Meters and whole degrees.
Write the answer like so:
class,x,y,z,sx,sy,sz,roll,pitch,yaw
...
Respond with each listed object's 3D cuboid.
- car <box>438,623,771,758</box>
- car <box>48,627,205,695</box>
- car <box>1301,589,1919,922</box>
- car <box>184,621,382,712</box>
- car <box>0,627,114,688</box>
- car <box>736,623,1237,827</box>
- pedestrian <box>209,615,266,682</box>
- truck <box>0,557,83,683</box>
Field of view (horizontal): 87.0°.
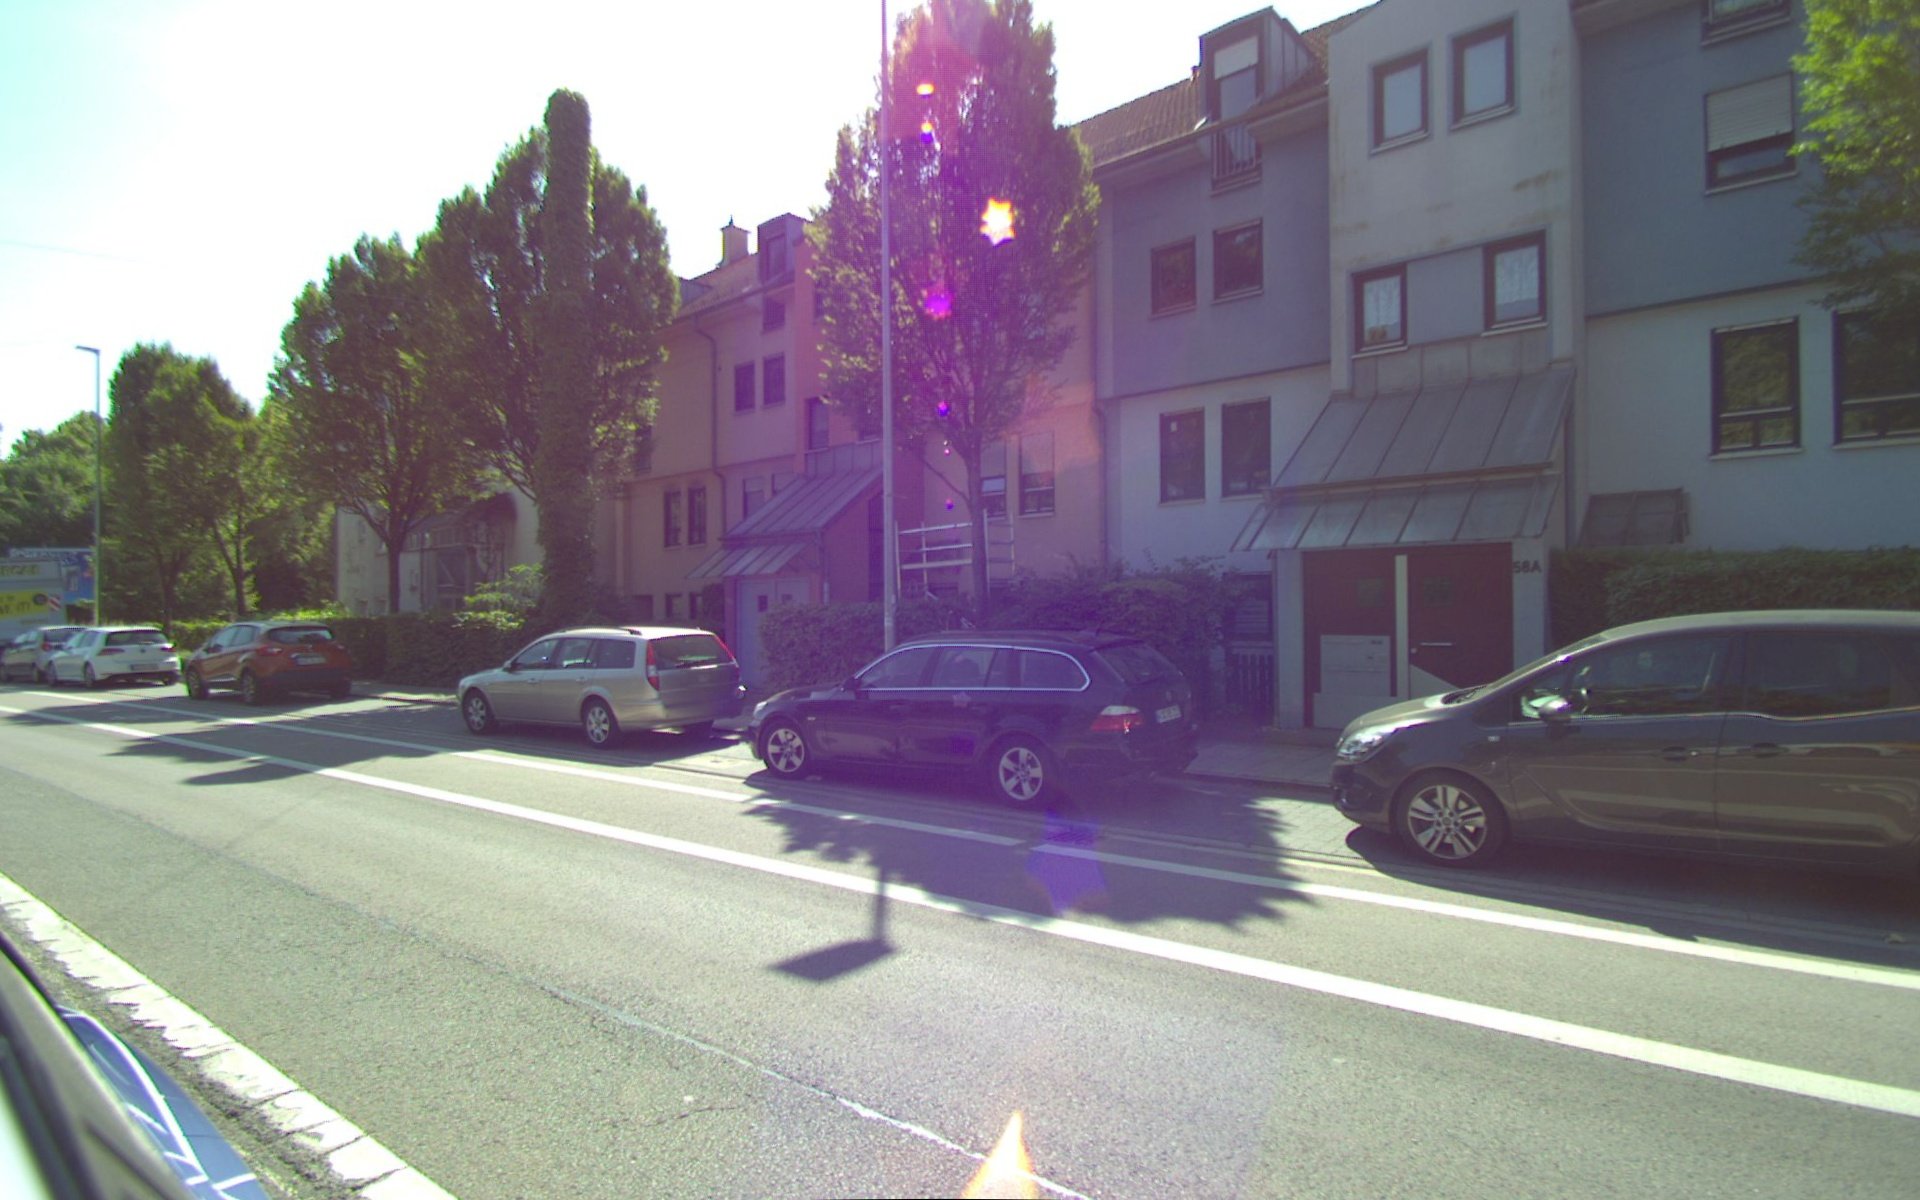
class,x,y,z,sx,sy,sz,roll,pitch,yaw
car,-4.963,1.093,13.836,4.844,1.494,1.766,-1,1,34
car,-20.209,1.418,24.490,4.269,1.440,1.744,-1,0,33
car,4.566,0.791,6.298,4.305,1.637,1.701,-1,0,37
car,-13.329,1.234,19.846,4.306,1.563,1.717,-1,0,34
car,-24.781,1.534,27.539,3.623,1.495,1.598,-1,1,31
car,0.089,1.010,9.803,4.705,1.485,1.708,-1,1,36
pedestrian,-18.781,1.244,26.315,1.052,1.703,0.868,-1,-2,33
truck,-30.386,0.646,31.275,8.565,3.556,2.646,-1,0,33
